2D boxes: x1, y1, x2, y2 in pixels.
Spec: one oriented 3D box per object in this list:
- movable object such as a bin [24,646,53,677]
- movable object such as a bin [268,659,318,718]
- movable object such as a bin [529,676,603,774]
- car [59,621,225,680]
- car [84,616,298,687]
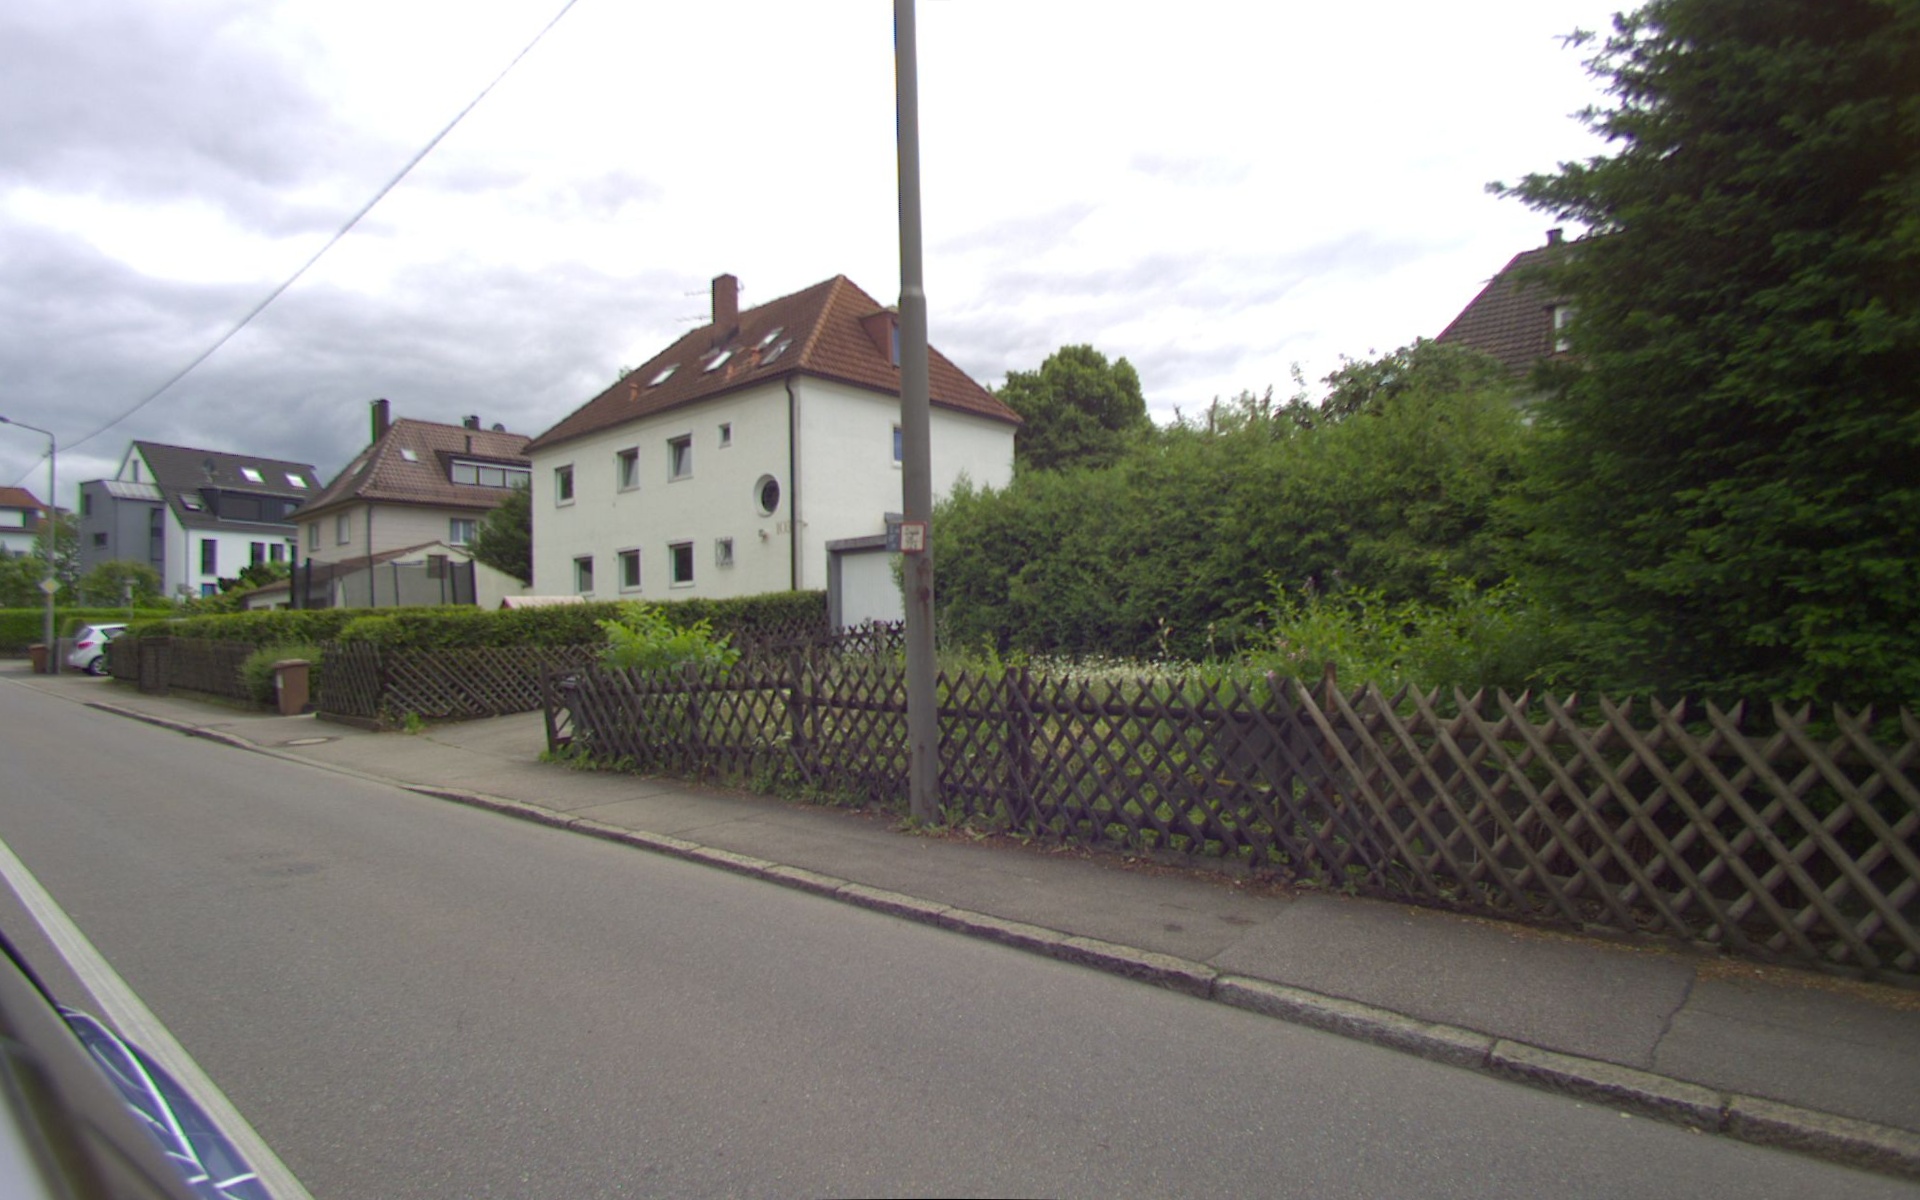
[{"bbox_3d":[-30.239,2.017,33.212,0.680,0.961,0.572,1,-2,-45],"label":"movable object such as a bin"},{"bbox_3d":[-11.153,1.469,16.925,0.625,0.920,0.561,-1,-1,-39],"label":"movable object such as a bin"},{"bbox_3d":[-4.118,1.288,10.575,0.537,0.945,0.544,-2,-2,43],"label":"movable object such as a bin"},{"bbox_3d":[-26.516,1.591,32.906,1.717,1.606,3.946,-2,1,41],"label":"car"},{"bbox_3d":[-22.193,1.421,29.360,1.881,1.682,4.624,-2,1,39],"label":"car"}]
